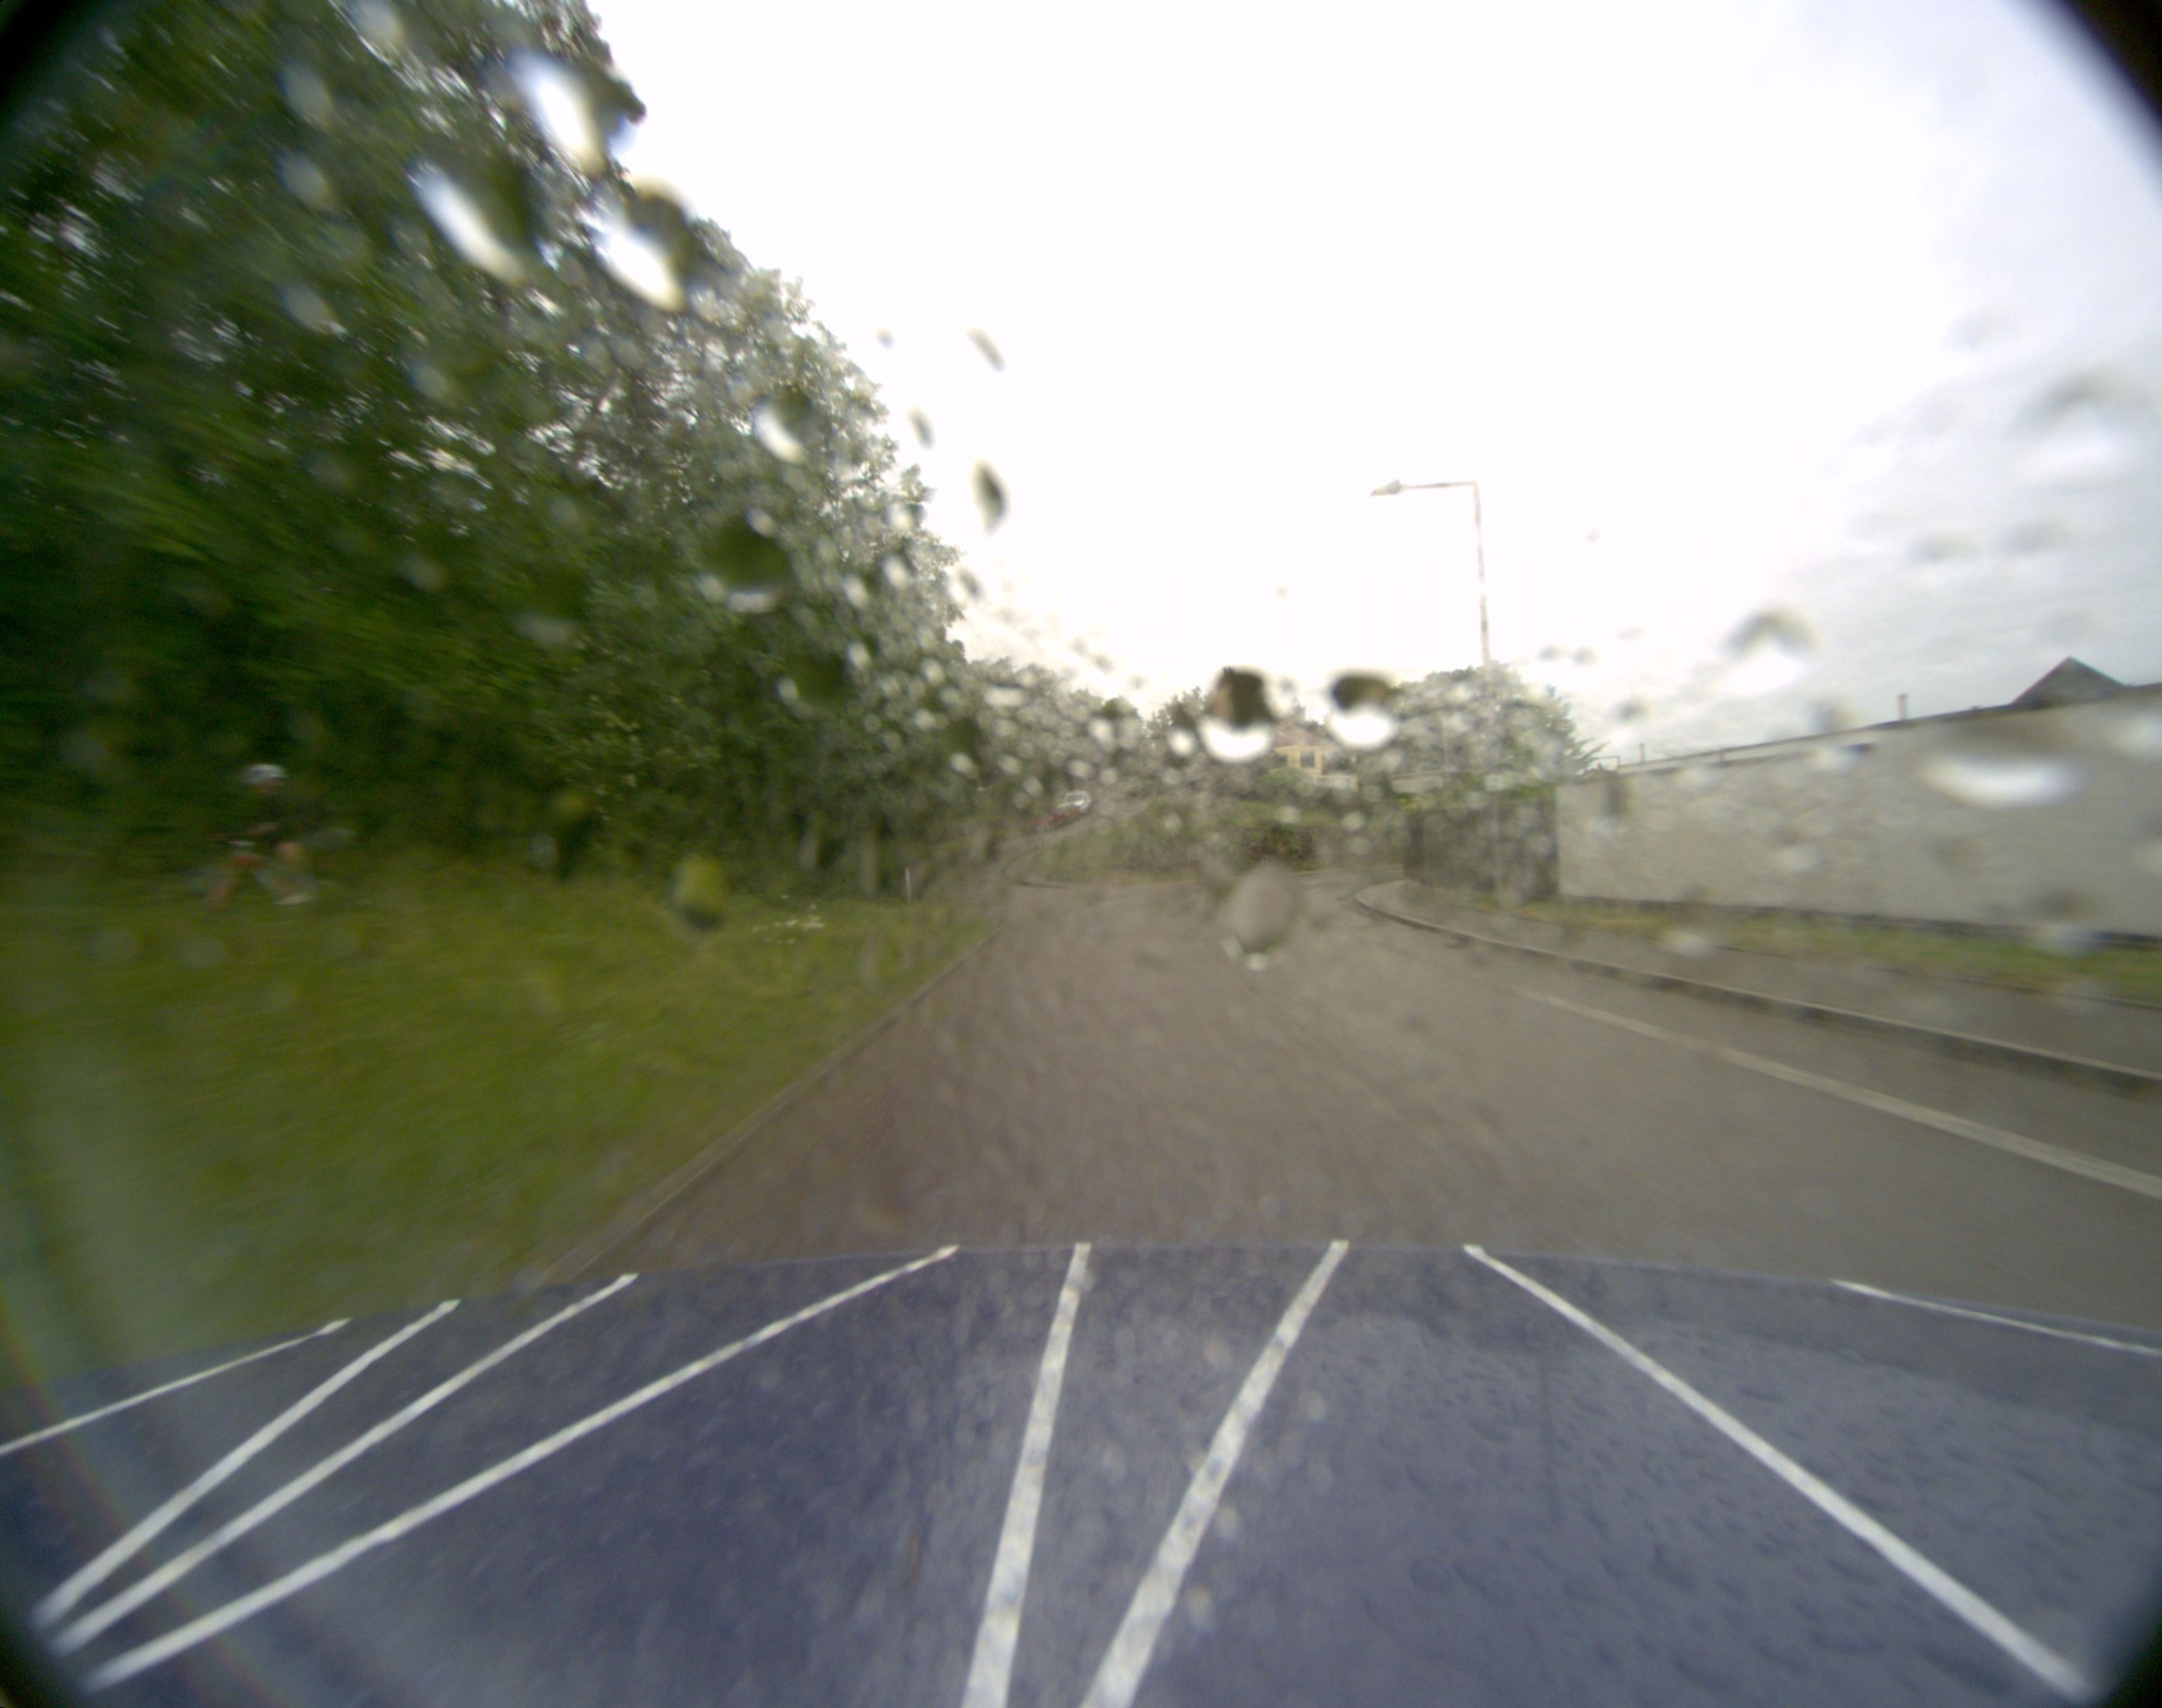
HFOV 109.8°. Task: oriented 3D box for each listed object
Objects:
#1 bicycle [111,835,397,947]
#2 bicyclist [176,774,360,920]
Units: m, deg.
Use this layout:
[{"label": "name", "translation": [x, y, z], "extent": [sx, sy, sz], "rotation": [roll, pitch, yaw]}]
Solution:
[{"label": "bicycle", "translation": [-7.324, 0.279, 6.860], "extent": [0.435, 0.885, 1.699], "rotation": [-2, 1, 15]}, {"label": "bicyclist", "translation": [-7.339, -0.057, 6.894], "extent": [0.788, 1.220, 0.812], "rotation": [-2, 1, 15]}]
